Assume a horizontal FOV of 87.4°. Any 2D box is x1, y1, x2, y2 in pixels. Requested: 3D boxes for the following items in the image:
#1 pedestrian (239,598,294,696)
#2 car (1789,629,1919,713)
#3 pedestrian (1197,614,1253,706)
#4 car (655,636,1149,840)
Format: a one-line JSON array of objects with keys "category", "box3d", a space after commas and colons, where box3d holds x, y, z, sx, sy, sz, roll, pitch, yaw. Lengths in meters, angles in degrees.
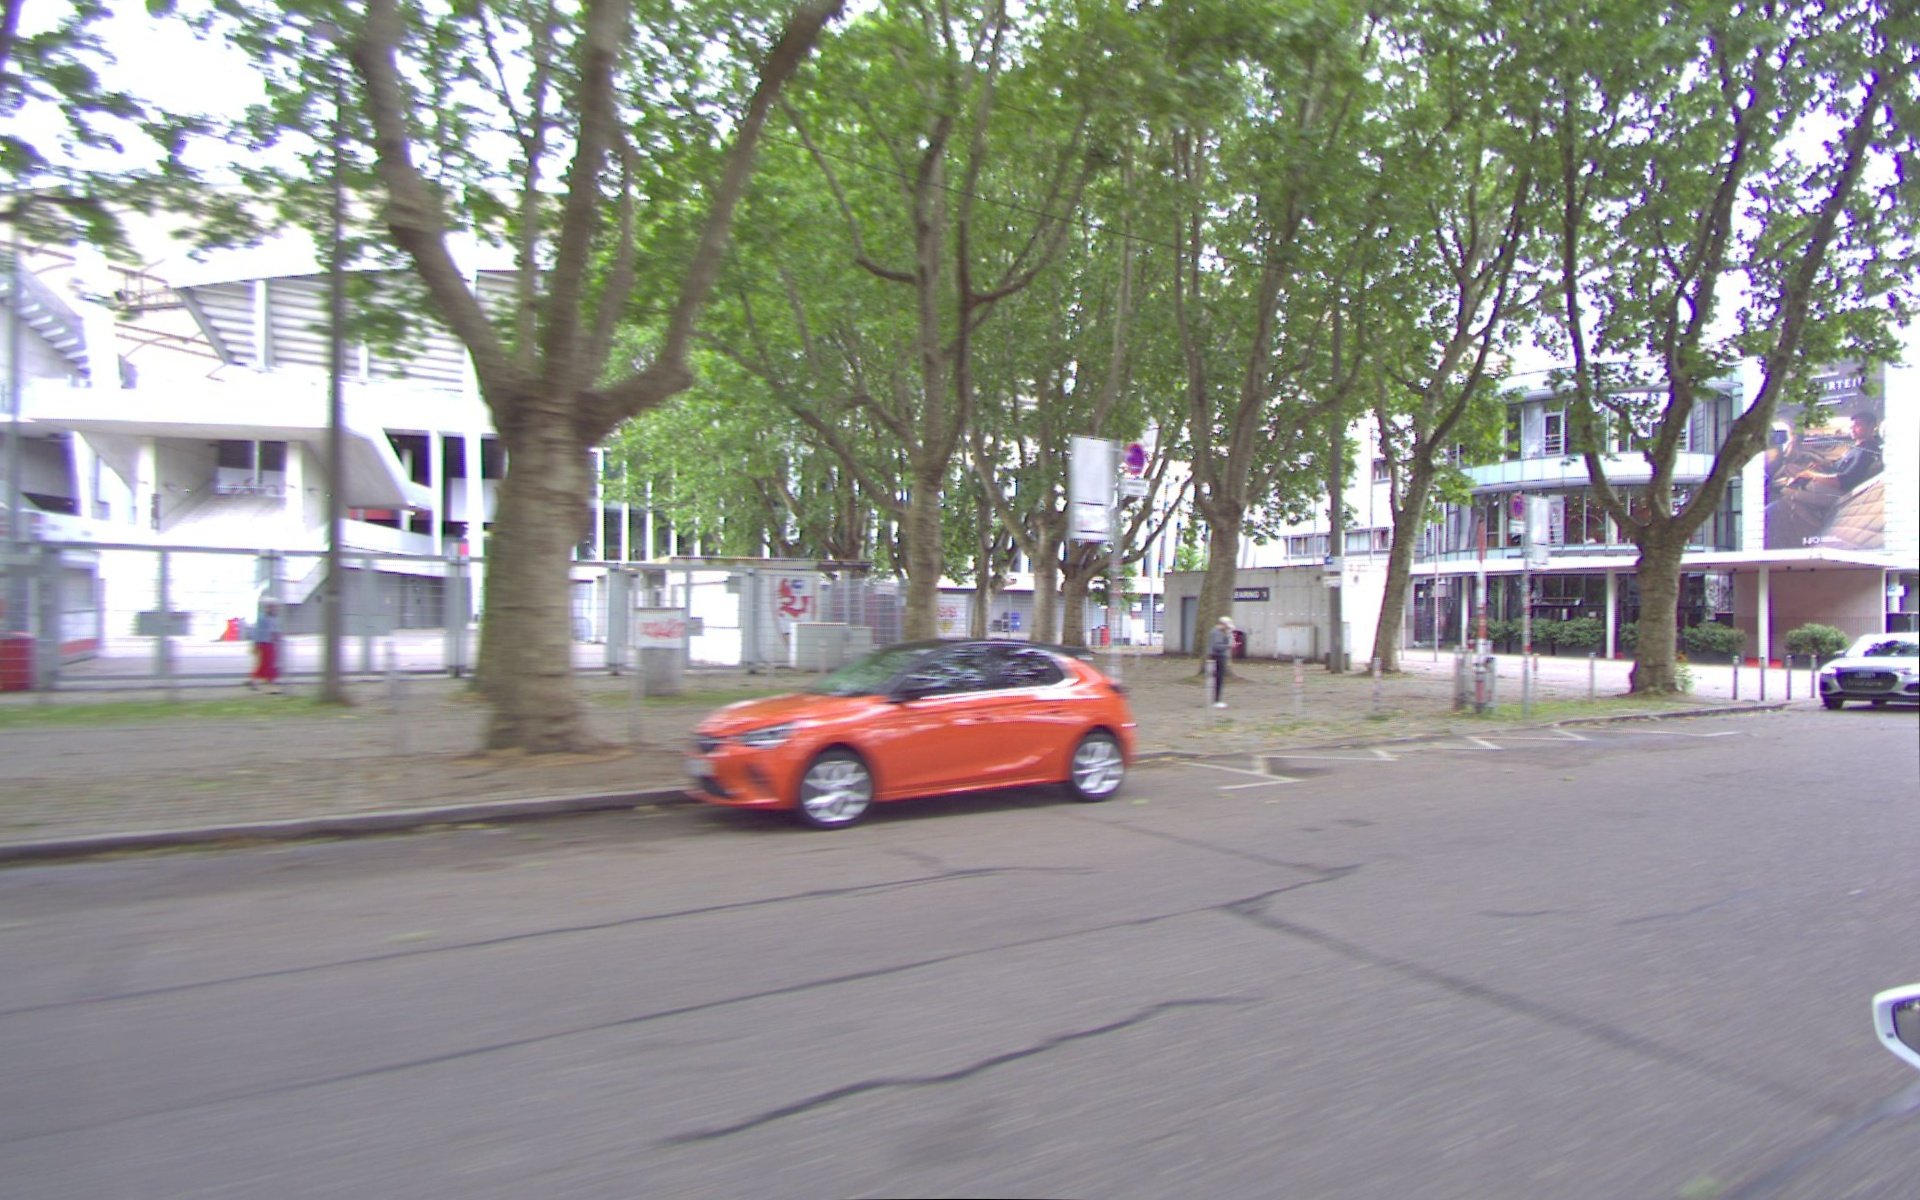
[{"category": "pedestrian", "box3d": [-11.323, 0.757, 16.420, 0.652, 1.564, 0.664, 1, -1, -30]}, {"category": "car", "box3d": [19.956, 1.429, 21.436, 4.701, 1.583, 2.063, 1, -1, -31]}, {"category": "pedestrian", "box3d": [4.830, 1.080, 18.309, 0.780, 1.641, 0.591, 1, -1, -22]}, {"category": "car", "box3d": [-0.451, 1.023, 8.785, 3.954, 1.372, 1.799, 1, -1, -31]}]
